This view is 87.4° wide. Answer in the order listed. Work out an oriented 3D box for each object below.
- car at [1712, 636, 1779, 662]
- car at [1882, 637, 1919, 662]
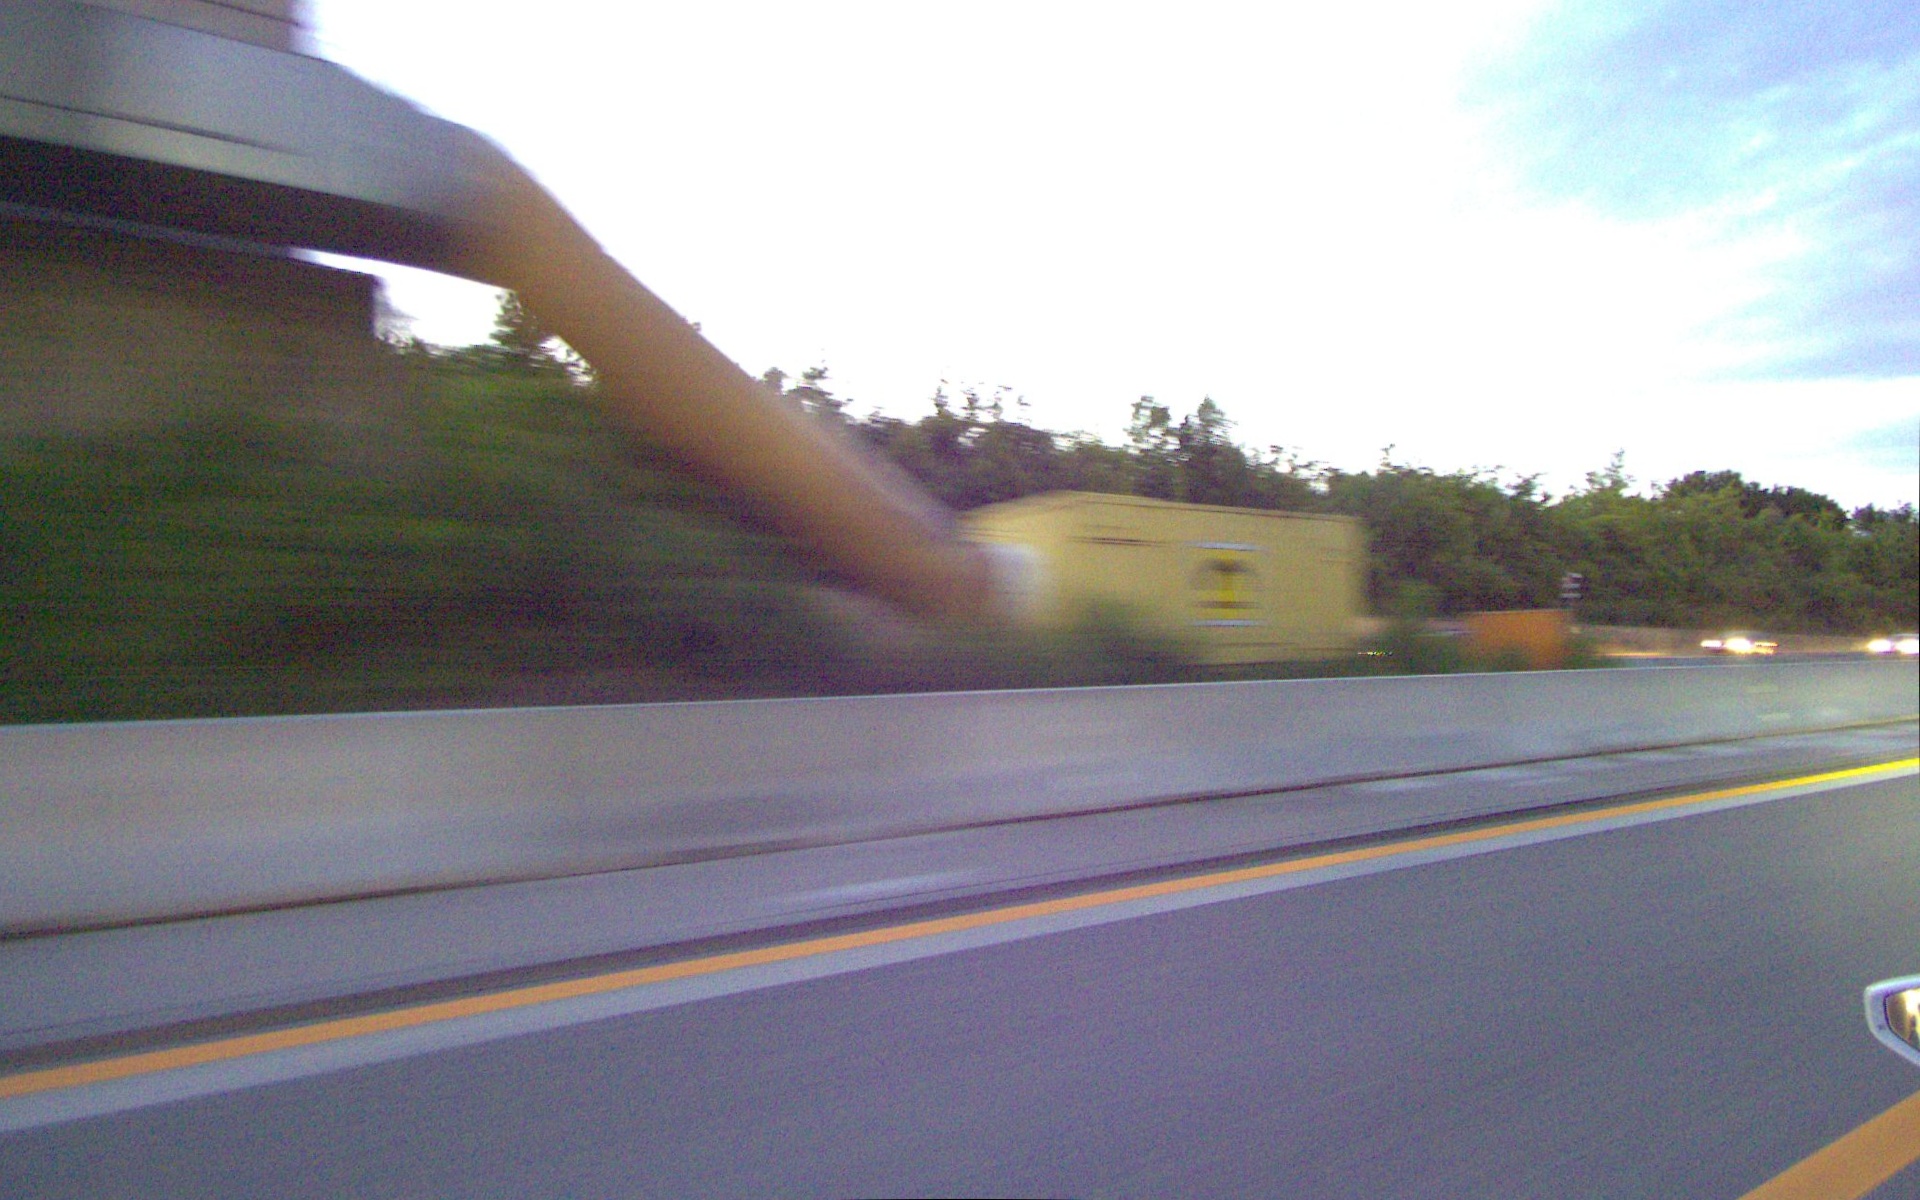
[{"bbox_3d":[47.468,2.960,60.659,4.172,1.489,1.571,2,0,-27],"label":"car"},{"bbox_3d":[60.108,3.122,63.163,4.587,1.489,1.666,2,0,-27],"label":"car"}]
